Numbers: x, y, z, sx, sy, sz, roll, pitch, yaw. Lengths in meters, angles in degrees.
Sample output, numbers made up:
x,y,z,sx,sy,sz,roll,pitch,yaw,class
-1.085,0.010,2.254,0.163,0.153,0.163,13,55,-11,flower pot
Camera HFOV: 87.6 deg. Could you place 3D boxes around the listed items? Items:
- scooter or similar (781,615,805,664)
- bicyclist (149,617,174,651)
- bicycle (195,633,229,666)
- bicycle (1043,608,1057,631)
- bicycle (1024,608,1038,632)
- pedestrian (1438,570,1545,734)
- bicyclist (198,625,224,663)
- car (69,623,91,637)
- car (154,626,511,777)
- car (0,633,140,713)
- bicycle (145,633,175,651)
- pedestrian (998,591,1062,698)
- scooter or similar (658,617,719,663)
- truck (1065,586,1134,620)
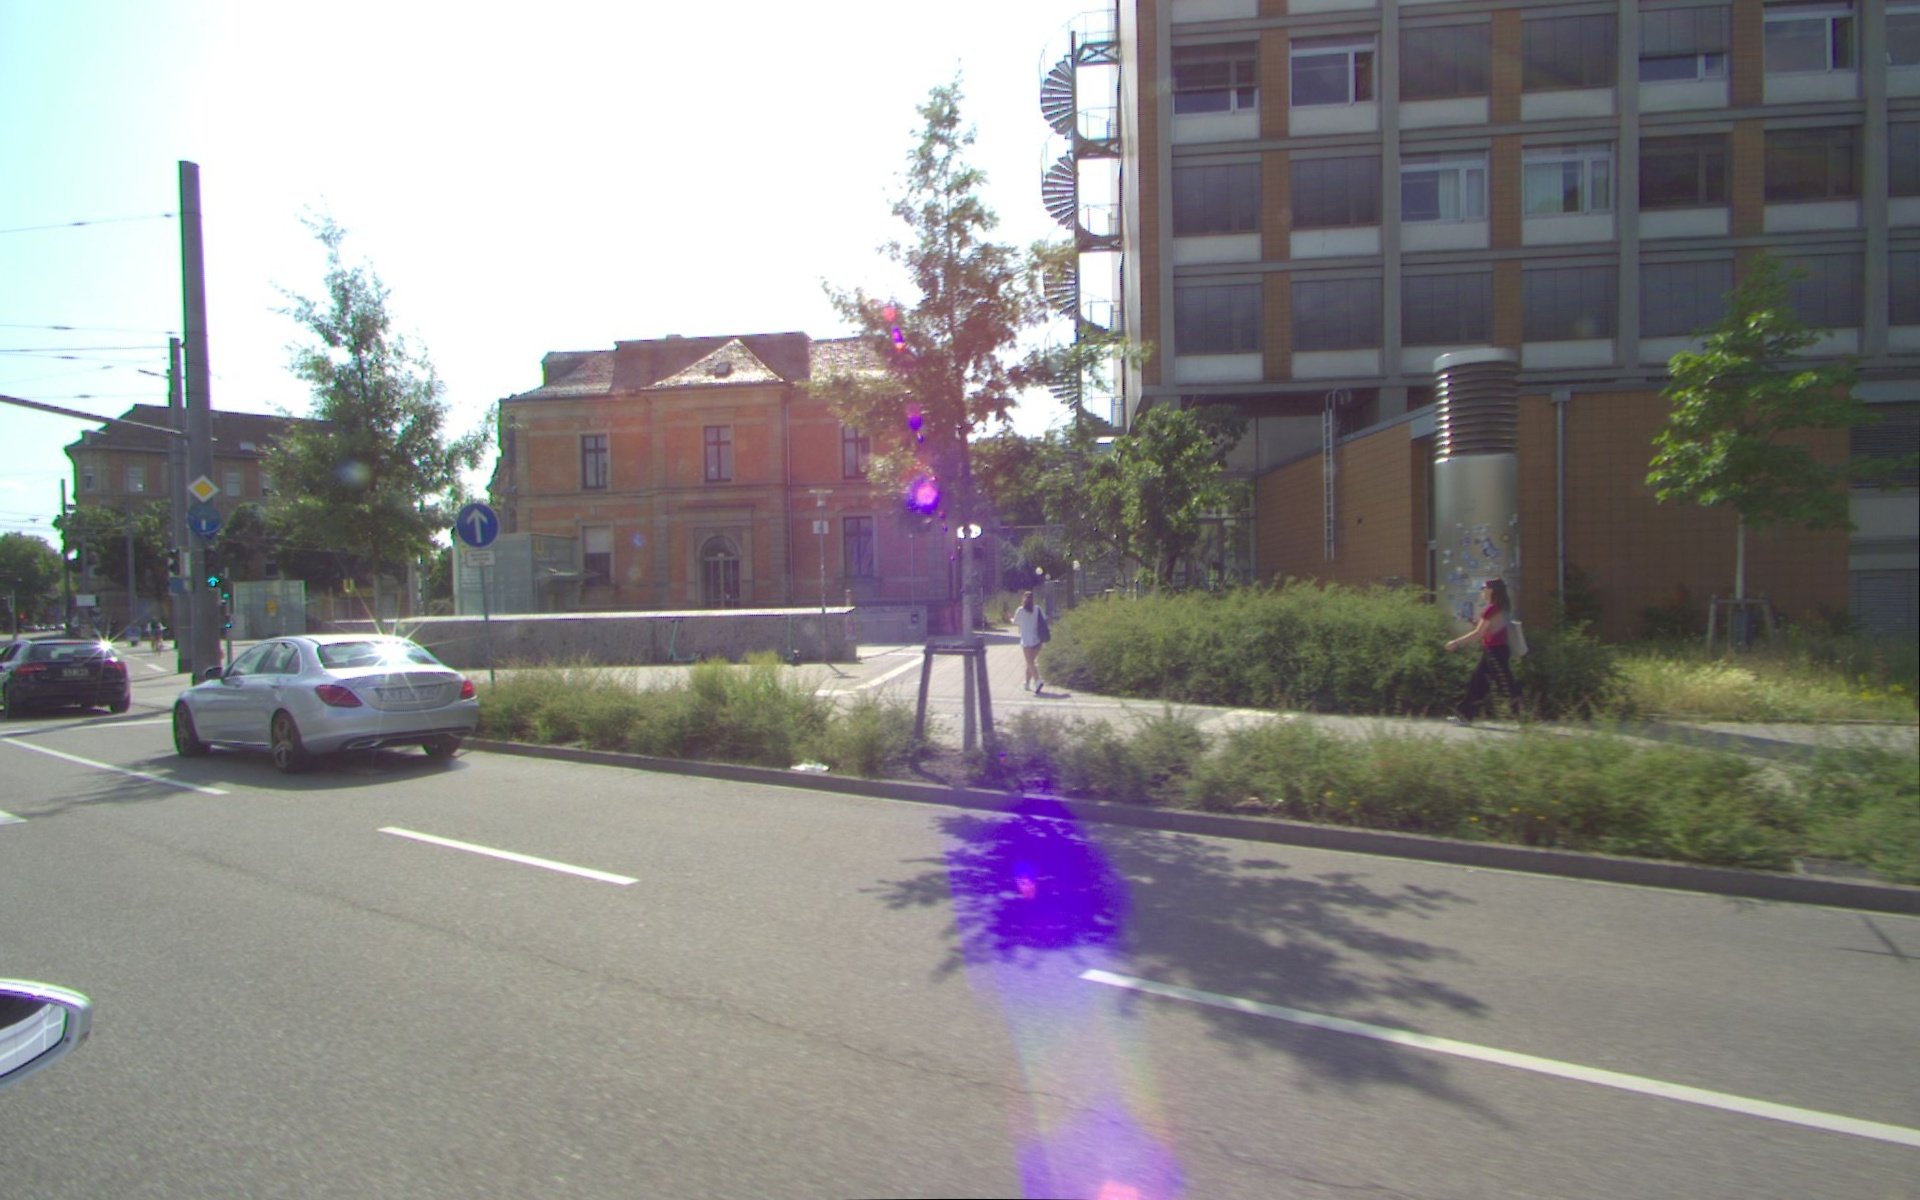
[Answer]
x,y,z,sx,sy,sz,roll,pitch,yaw,class
-4.069,0.948,24.410,0.457,1.119,1.316,-2,1,-13,scooter or similar
-35.204,1.515,44.142,0.763,1.470,0.606,-1,0,33,bicyclist
-25.710,1.686,34.403,0.839,0.983,1.945,-4,3,-38,bicycle
4.039,0.865,44.838,0.536,1.002,1.507,-4,0,4,bicycle
3.190,0.892,44.857,0.536,1.002,1.507,-4,0,4,bicycle
5.632,0.532,10.612,0.879,1.644,0.611,-1,3,39,pedestrian
-25.741,1.496,34.426,0.629,1.237,0.917,-3,3,-37,bicyclist
-112.032,3.861,127.563,1.820,1.673,3.971,0,-2,-38,car
-7.591,1.063,11.964,4.694,1.474,1.926,-1,-1,35,car
-17.677,1.371,19.600,4.082,1.389,1.693,-2,-2,38,car
-35.356,1.841,44.254,1.599,0.786,0.583,-1,0,34,bicycle
1.124,0.691,16.231,0.605,1.644,1.094,-3,2,-17,pedestrian
-6.985,1.022,25.778,1.420,1.133,0.465,-1,2,12,scooter or similar
9.040,0.235,64.718,4.304,2.039,2.000,-1,-2,11,truck
